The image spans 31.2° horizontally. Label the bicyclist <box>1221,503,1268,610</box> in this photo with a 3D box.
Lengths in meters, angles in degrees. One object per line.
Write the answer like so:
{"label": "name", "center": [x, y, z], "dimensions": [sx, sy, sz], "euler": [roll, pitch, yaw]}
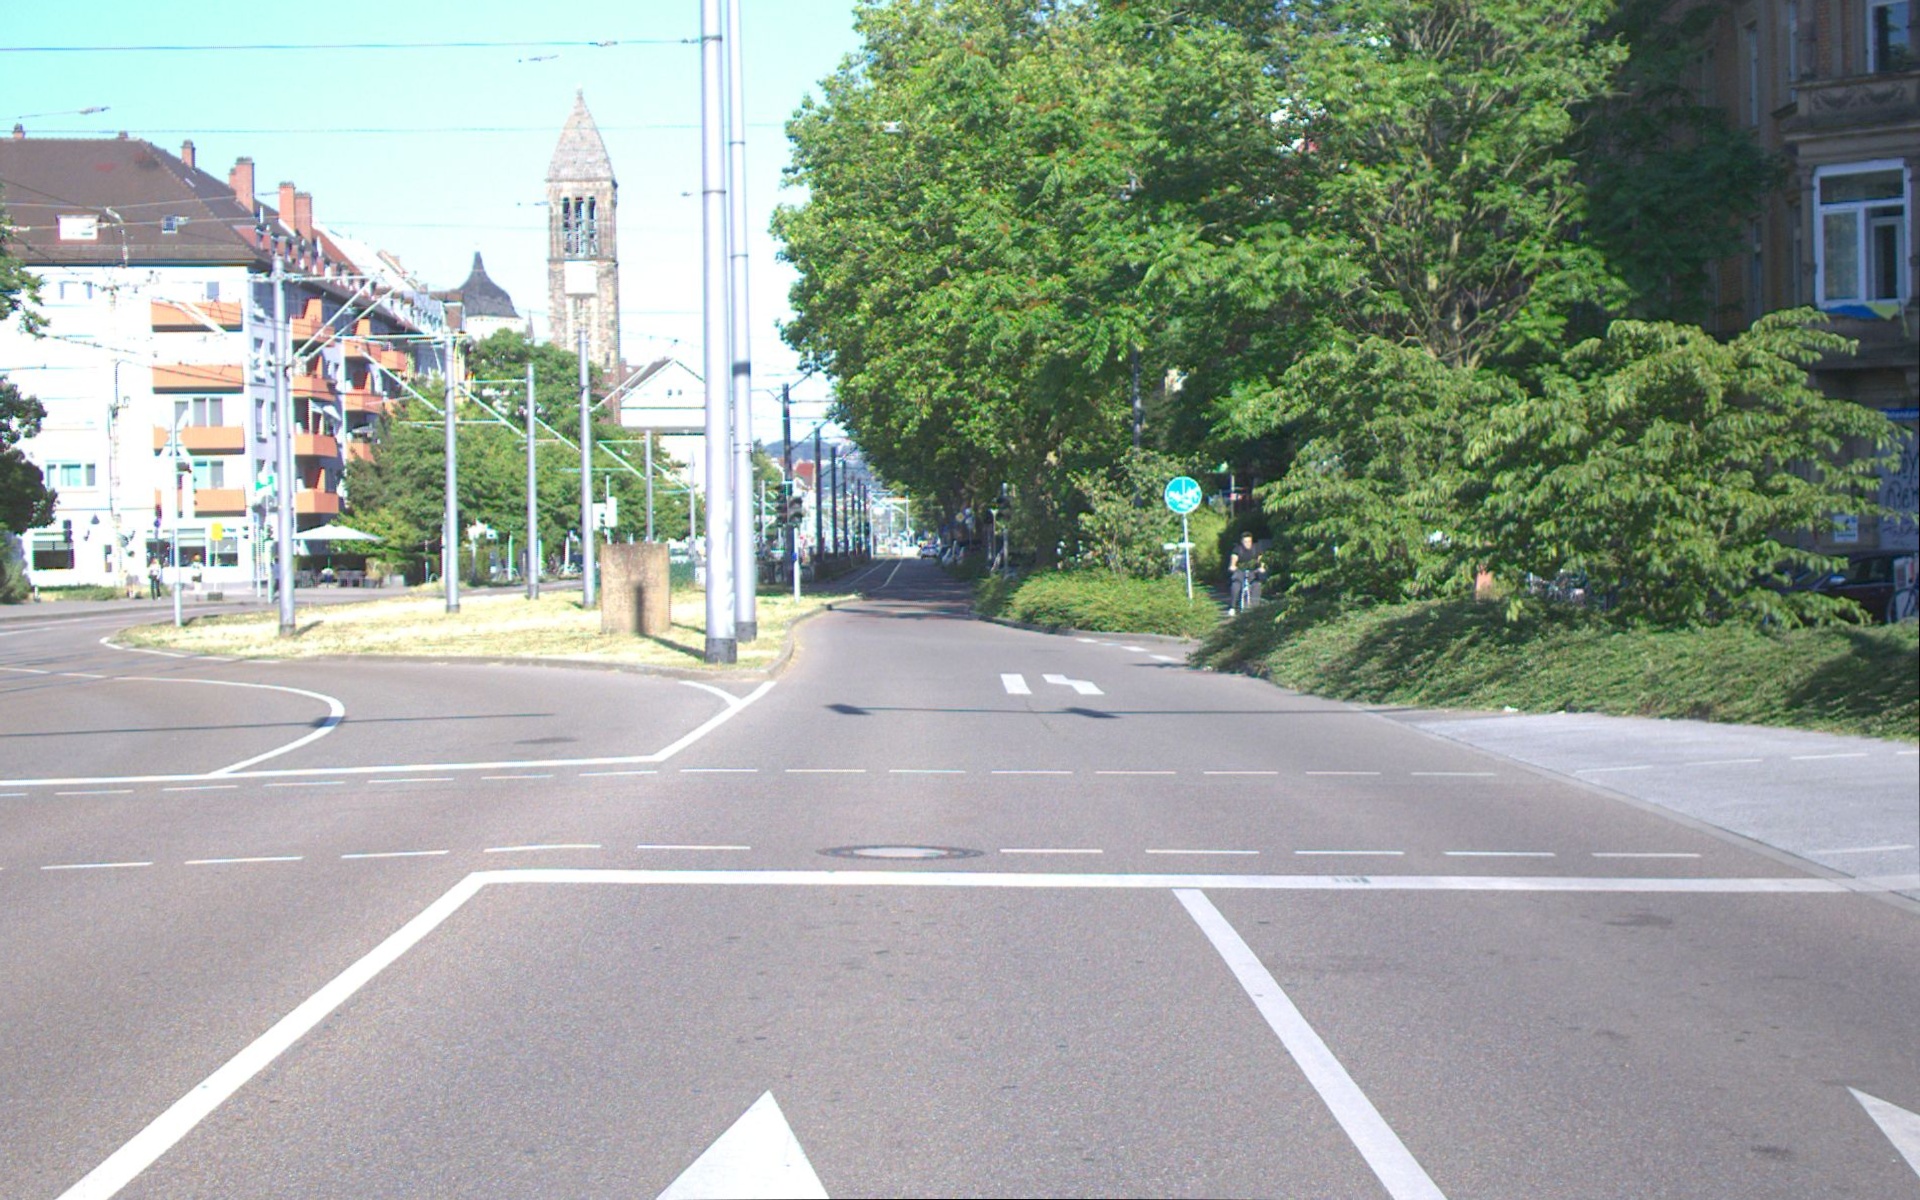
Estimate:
{"label": "bicyclist", "center": [4.879, -0.743, 58.995], "dimensions": [0.641, 1.808, 1.052], "euler": [-2, 0, -1]}

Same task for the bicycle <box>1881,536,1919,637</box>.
{"label": "bicycle", "center": [11.952, -0.170, 42.157], "dimensions": [0.489, 1.234, 1.890], "euler": [-2, 0, -10]}

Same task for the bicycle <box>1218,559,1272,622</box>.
{"label": "bicycle", "center": [4.895, -0.164, 59.098], "dimensions": [0.641, 1.044, 2.360], "euler": [-2, 0, -1]}

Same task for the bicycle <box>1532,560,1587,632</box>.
{"label": "bicycle", "center": [9.664, -0.076, 55.467], "dimensions": [0.518, 1.044, 1.821], "euler": [-2, 4, -1]}

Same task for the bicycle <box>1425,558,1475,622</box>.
{"label": "bicycle", "center": [8.504, -0.183, 59.687], "dimensions": [0.525, 0.985, 1.722], "euler": [-2, 4, -2]}

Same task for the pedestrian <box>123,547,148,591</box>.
{"label": "pedestrian", "center": [-31.058, -1.186, 129.465], "dimensions": [0.644, 1.593, 0.898], "euler": [-2, 4, 0]}

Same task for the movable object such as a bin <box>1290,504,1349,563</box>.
{"label": "movable object such as a bin", "center": [8.778, -1.622, 83.925], "dimensions": [1.232, 1.377, 1.257], "euler": [-2, 1, -1]}

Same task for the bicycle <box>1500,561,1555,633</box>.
{"label": "bicycle", "center": [9.153, -0.058, 55.462], "dimensions": [0.518, 1.044, 1.821], "euler": [-2, 4, -1]}

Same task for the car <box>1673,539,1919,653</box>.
{"label": "car", "center": [12.358, -0.075, 48.363], "dimensions": [4.250, 1.410, 1.813], "euler": [-1, 3, -1]}

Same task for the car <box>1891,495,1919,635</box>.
{"label": "car", "center": [17.105, -0.563, 53.744], "dimensions": [4.576, 2.117, 1.776], "euler": [0, 3, -2]}

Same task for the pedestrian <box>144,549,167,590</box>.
{"label": "pedestrian", "center": [-30.300, -1.159, 129.470], "dimensions": [0.589, 1.462, 0.916], "euler": [-2, 4, 0]}

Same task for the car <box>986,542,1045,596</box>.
{"label": "car", "center": [1.650, -0.947, 102.865], "dimensions": [1.643, 1.506, 4.183], "euler": [-2, 1, 0]}

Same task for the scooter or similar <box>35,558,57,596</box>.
{"label": "scooter or similar", "center": [-32.145, -0.826, 120.874], "dimensions": [0.401, 1.256, 1.231], "euler": [-2, 4, 0]}

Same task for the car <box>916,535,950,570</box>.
{"label": "car", "center": [-1.664, -2.914, 212.435], "dimensions": [1.993, 2.100, 4.000], "euler": [1, 0, 0]}
